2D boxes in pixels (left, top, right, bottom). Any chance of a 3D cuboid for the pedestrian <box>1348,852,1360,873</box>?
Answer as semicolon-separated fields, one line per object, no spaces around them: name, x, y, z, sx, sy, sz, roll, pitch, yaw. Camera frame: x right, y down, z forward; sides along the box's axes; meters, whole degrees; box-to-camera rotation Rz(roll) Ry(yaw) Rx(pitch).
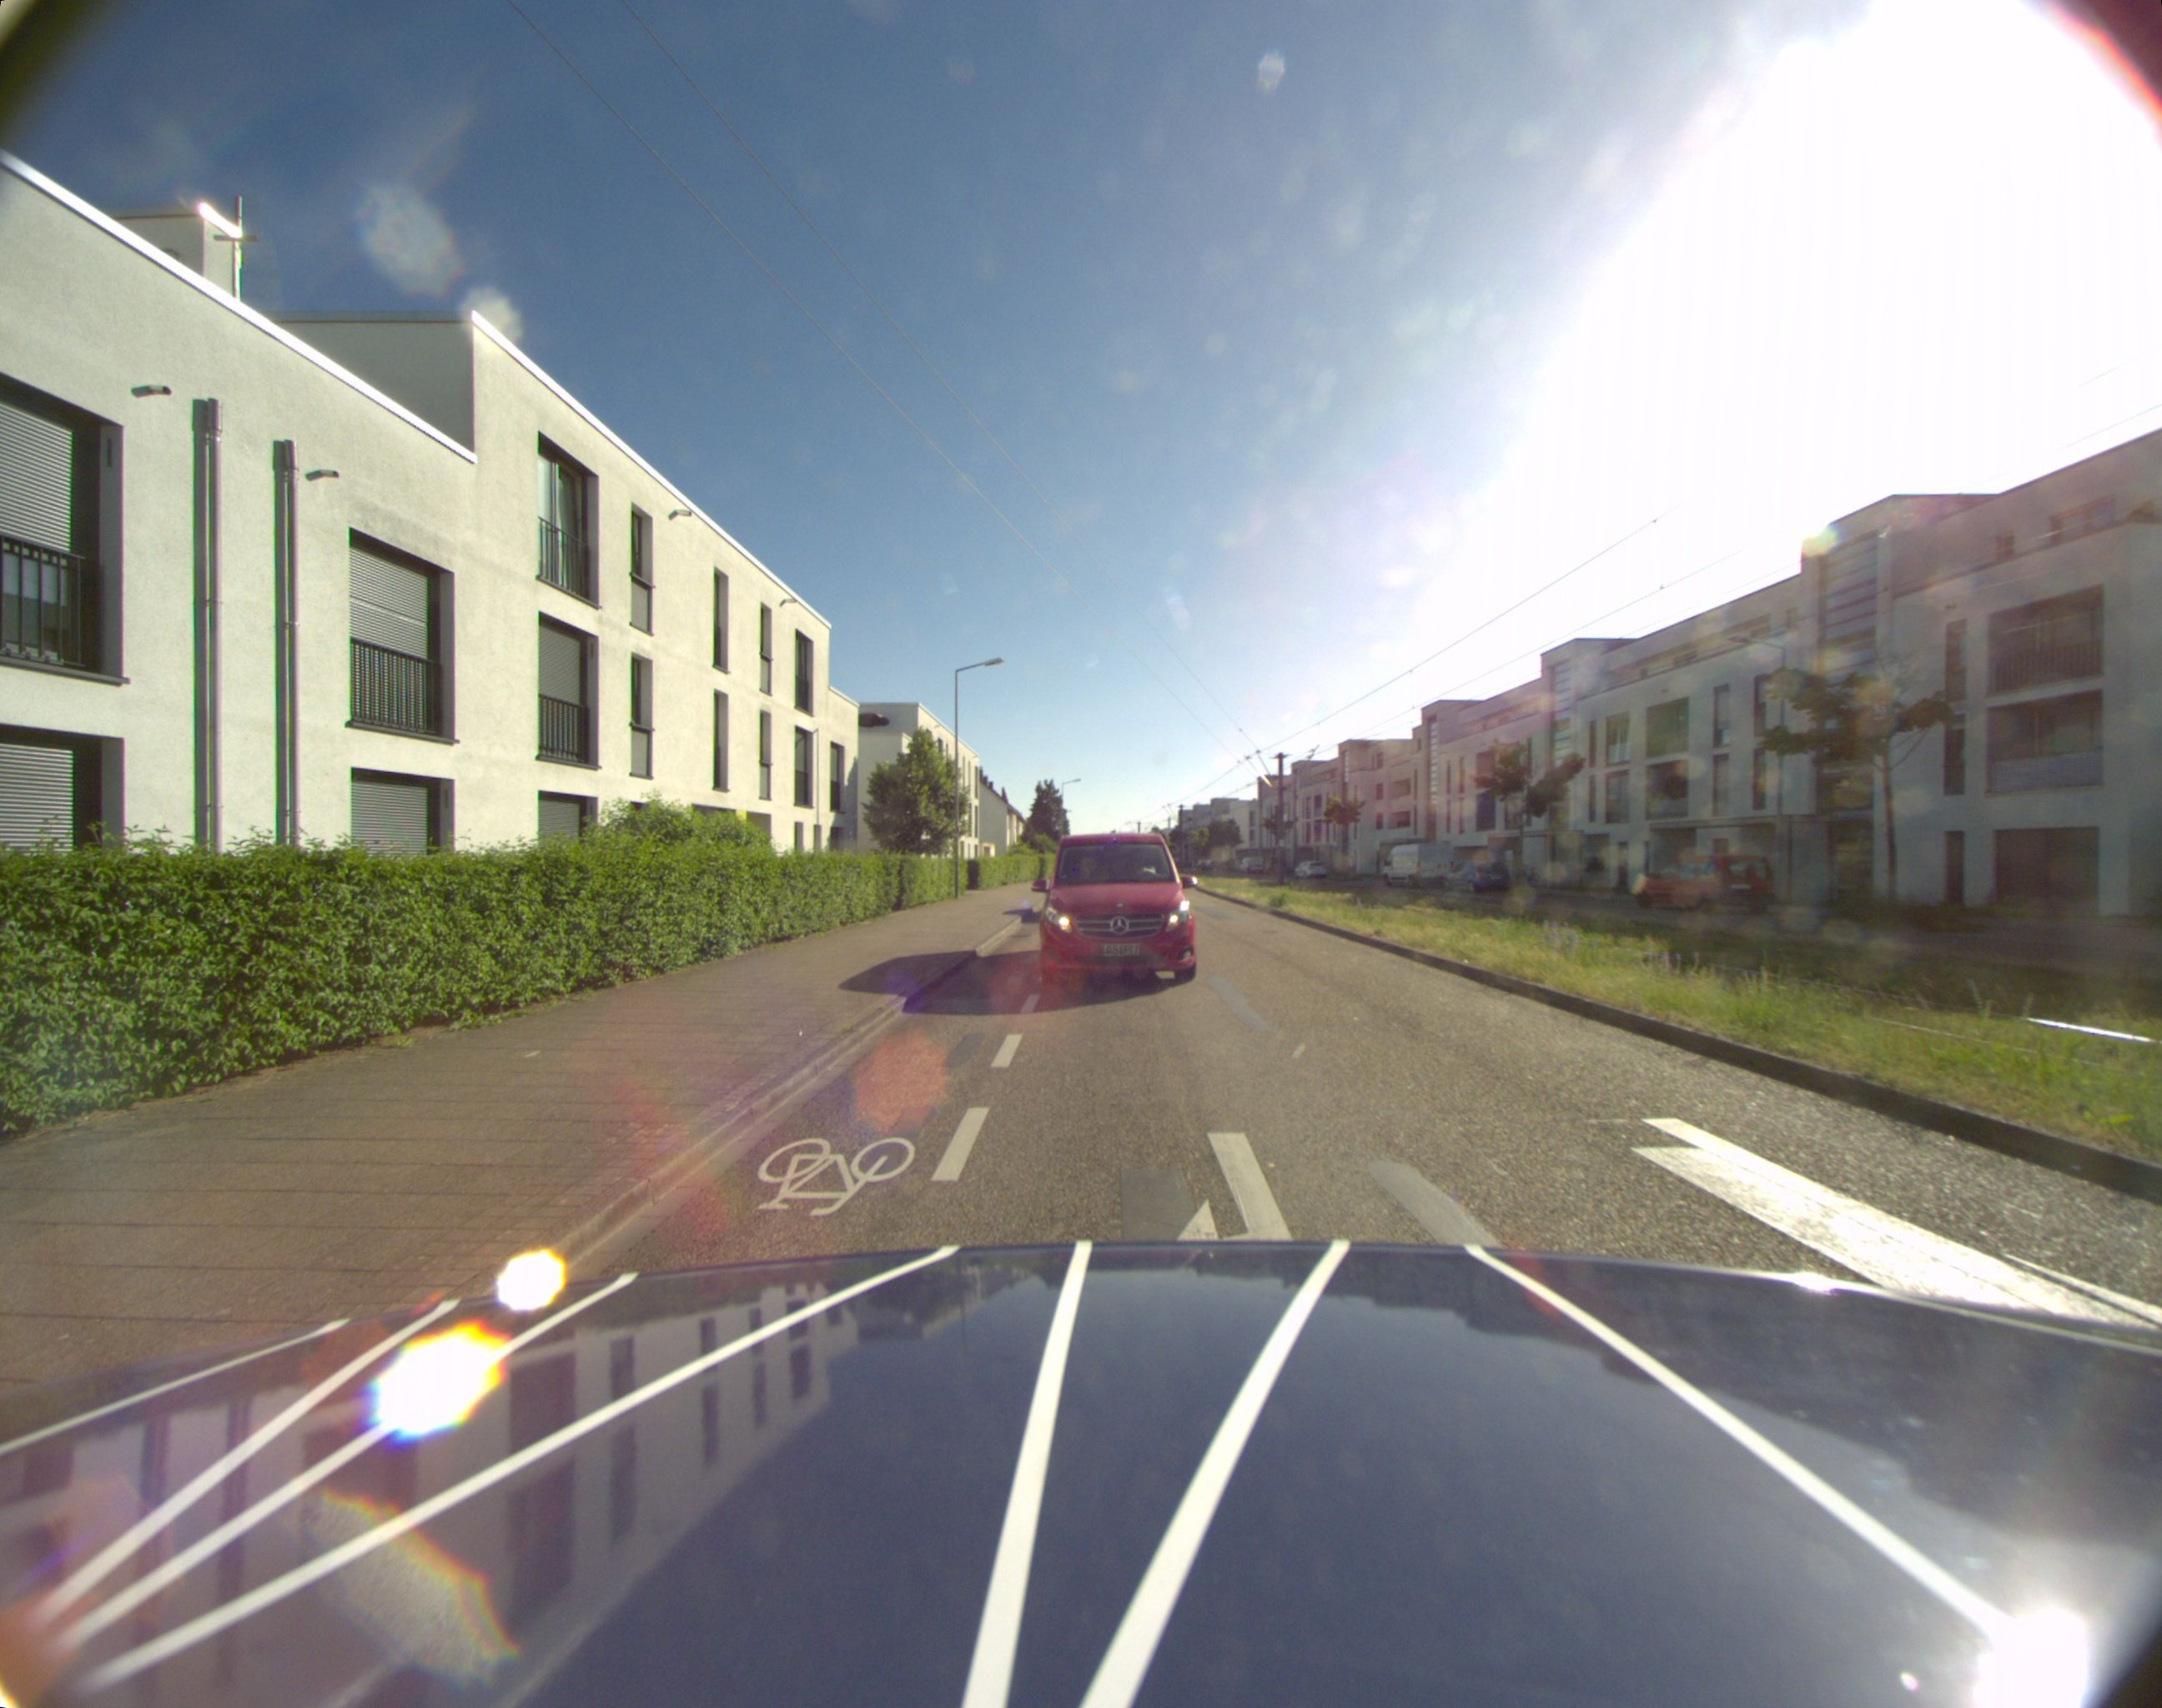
pedestrian;21.939;0.693;61.030;0.619;1.634;0.612;-2;1;-5

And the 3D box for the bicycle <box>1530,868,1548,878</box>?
bicycle;25.966;1.078;43.091;0.354;0.495;1.061;0;0;1

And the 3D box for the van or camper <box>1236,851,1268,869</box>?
van or camper;19.217;0.652;85.835;2.272;1.837;6.286;-1;0;0

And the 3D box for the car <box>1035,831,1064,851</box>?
car;-4.097;-1.669;99.863;3.182;2.333;6.176;-2;0;3

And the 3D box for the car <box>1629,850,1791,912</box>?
car;19.054;0.747;23.261;1.793;1.713;3.909;1;0;3

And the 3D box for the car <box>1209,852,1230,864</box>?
car;17.694;0.475;97.454;1.867;1.430;3.496;-2;1;-3

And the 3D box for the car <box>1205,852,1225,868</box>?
car;18.393;0.803;104.521;1.787;2.002;3.999;-2;0;-2

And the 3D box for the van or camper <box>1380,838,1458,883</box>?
van or camper;19.313;0.343;43.738;2.197;2.450;5.260;0;0;1

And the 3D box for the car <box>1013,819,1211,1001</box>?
car;0.444;0.631;10.931;2.127;1.958;5.085;-2;0;2

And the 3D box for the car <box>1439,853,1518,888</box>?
car;19.250;0.765;36.984;1.934;1.603;3.836;0;0;1

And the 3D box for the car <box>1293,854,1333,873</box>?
car;19.561;0.760;64.321;2.046;1.577;4.121;0;0;-1
